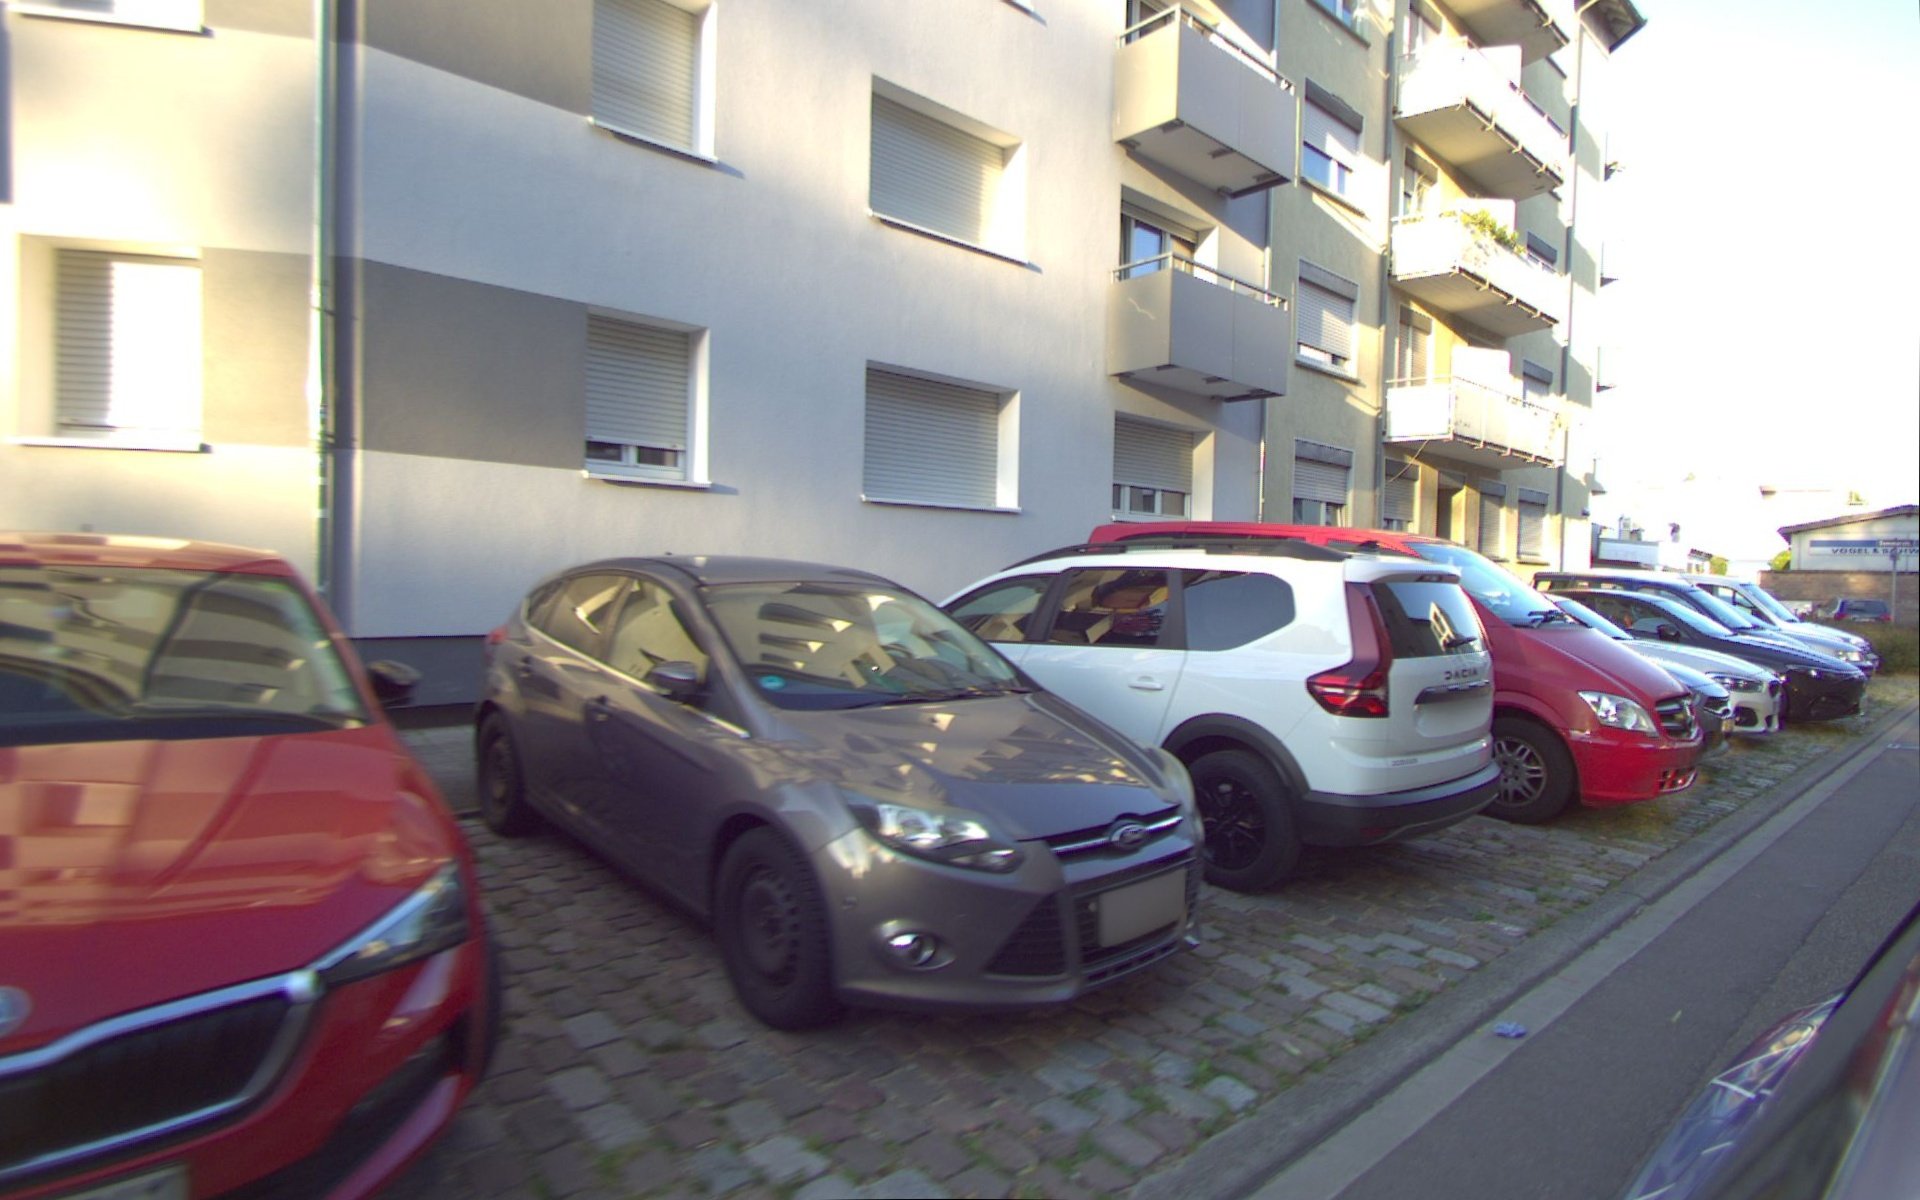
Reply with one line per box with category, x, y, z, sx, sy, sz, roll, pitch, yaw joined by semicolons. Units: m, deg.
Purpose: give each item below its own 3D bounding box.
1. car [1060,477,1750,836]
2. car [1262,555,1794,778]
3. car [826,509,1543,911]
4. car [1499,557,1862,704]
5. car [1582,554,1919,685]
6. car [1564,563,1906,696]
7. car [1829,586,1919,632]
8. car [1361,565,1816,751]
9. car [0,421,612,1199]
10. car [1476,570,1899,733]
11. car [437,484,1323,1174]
car;3.182;0.244;8.135;1.965;2.025;4.683;0;2;-40
car;5.170;0.433;9.731;1.962;1.660;4.001;0;2;-34
car;1.073;0.385;6.204;1.755;1.649;3.991;0;2;-43
car;10.490;0.322;14.960;1.965;1.860;3.995;0;2;-40
car;13.746;0.224;17.736;1.964;1.992;4.429;0;2;-38
car;12.198;0.347;16.122;1.965;1.816;3.995;0;2;-40
car;32.605;0.276;36.184;1.988;1.508;4.373;1;1;36
car;6.972;0.480;11.558;1.964;1.705;3.996;0;2;-40
car;-2.842;0.442;3.195;1.889;1.560;4.310;0;2;-40
car;9.106;0.497;12.953;1.964;1.705;3.998;0;2;-38
car;-0.713;0.491;4.604;1.967;1.682;3.992;0;2;-43
